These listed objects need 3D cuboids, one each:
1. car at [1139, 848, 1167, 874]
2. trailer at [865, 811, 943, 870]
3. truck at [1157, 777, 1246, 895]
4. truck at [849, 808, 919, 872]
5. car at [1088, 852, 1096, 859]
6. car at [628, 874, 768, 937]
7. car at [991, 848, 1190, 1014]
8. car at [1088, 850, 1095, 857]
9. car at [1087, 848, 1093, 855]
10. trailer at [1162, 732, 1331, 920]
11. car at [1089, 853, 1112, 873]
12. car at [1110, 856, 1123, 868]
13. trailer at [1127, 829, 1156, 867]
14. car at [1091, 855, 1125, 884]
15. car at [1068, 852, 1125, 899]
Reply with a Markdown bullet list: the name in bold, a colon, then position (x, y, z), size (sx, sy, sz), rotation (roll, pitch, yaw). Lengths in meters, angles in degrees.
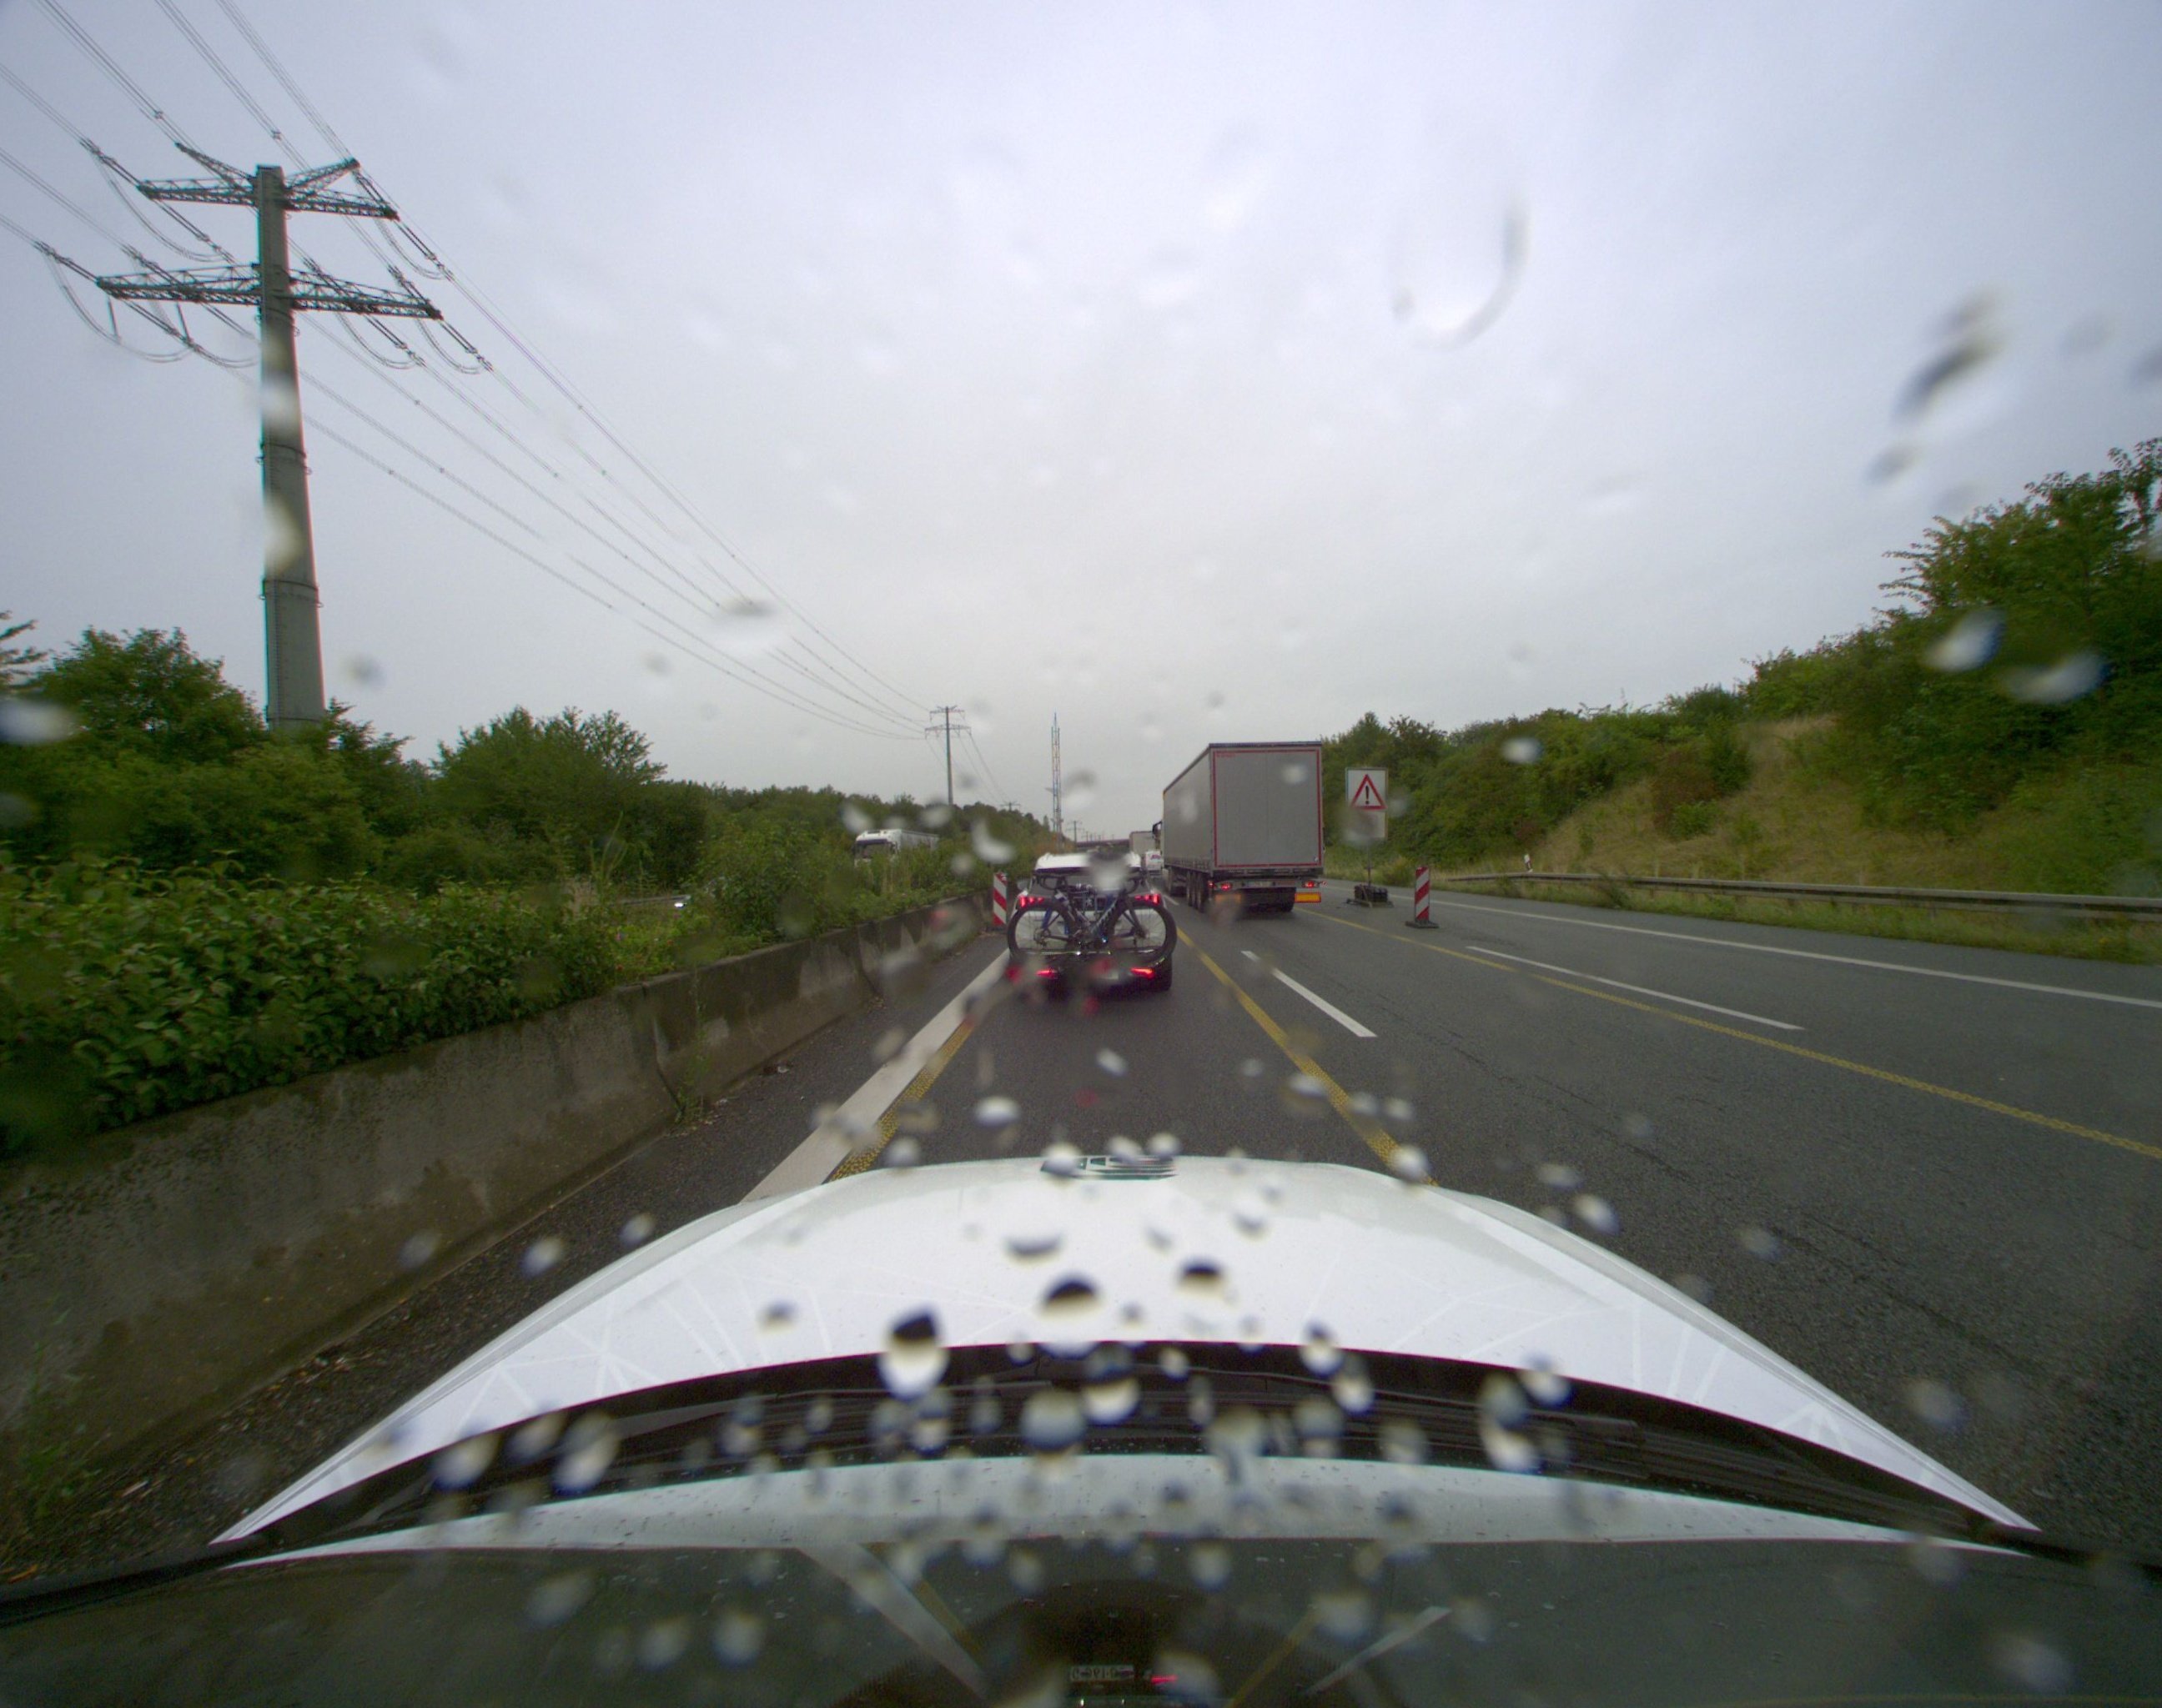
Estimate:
- **car**: position (5.381, 0.521, 61.275), size (1.822, 1.839, 4.657), rotation (-1, 0, 2)
- **trailer**: position (-13.491, -0.923, 63.528), size (2.776, 4.023, 13.253), rotation (-3, 0, 1)
- **truck**: position (4.547, -0.630, 31.778), size (2.696, 4.138, 5.692), rotation (-1, 0, 1)
- **truck**: position (-13.600, -0.905, 56.822), size (2.776, 4.023, 7.234), rotation (-3, 0, 1)
- **car**: position (3.068, 0.389, 224.617), size (1.924, 1.973, 4.002), rotation (-1, 1, 1)
- **car**: position (-10.758, 1.398, 23.240), size (1.986, 1.527, 4.001), rotation (-1, 0, 1)
- **car**: position (0.158, 0.724, 10.048), size (1.843, 1.531, 4.770), rotation (-1, 0, 2)
- **car**: position (3.146, -0.076, 242.343), size (1.924, 1.910, 4.002), rotation (-1, 1, 1)
- **car**: position (2.740, -0.723, 253.789), size (1.924, 1.973, 4.002), rotation (-1, 1, 1)
- **trailer**: position (4.362, -0.613, 24.998), size (2.696, 4.146, 13.736), rotation (-1, 0, 2)
- **car**: position (1.641, 0.738, 68.623), size (1.843, 1.531, 4.001), rotation (-1, 0, 1)
- **car**: position (6.270, 1.331, 144.071), size (2.102, 1.973, 4.002), rotation (-1, 1, 1)
- **trailer**: position (7.001, -0.690, 95.580), size (2.683, 4.076, 13.638), rotation (-1, 0, 2)
- **car**: position (1.522, 0.839, 46.240), size (1.843, 1.531, 4.001), rotation (-1, 0, 1)
- **car**: position (0.577, 0.709, 28.694), size (1.843, 1.531, 4.001), rotation (-1, 0, 1)
